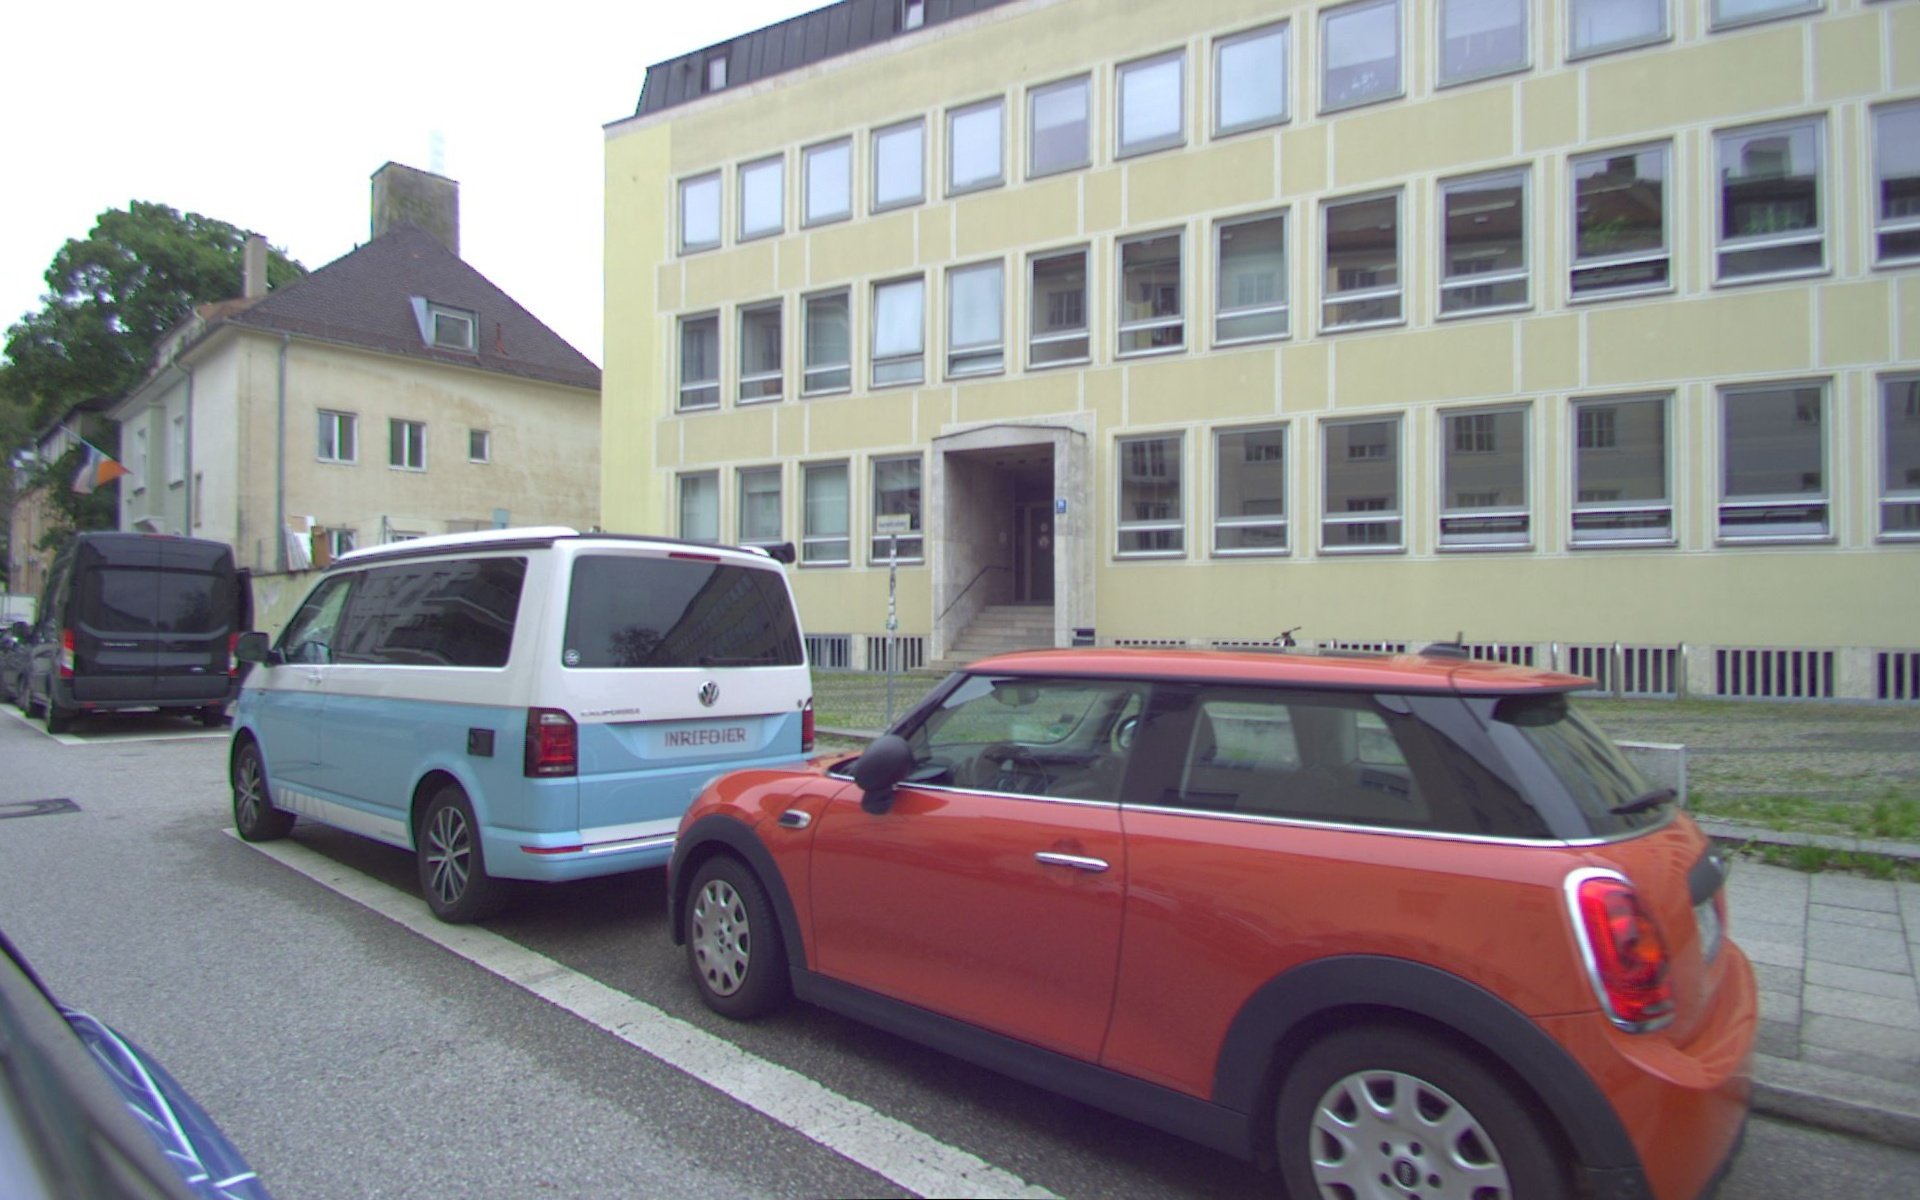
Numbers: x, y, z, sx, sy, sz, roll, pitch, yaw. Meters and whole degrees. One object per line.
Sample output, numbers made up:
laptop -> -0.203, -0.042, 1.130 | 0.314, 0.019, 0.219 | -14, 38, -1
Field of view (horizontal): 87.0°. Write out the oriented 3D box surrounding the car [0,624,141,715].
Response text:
car -> -16.742, 1.210, 18.723 | 3.484, 1.505, 1.686 | -1, -1, 37

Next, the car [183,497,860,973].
car -> -3.118, 0.629, 6.584 | 5.016, 1.994, 1.909 | -1, -3, 39

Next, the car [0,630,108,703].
car -> -20.051, 1.372, 21.953 | 4.066, 1.436, 1.676 | -1, -2, 39

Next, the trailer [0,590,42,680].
trailer -> -28.726, 1.020, 30.154 | 1.792, 2.555, 3.392 | 6, -5, -43

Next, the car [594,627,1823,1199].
car -> 0.493, 0.815, 3.620 | 3.916, 1.398, 1.725 | -1, -1, 41

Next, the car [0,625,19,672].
car -> -32.741, 1.579, 33.682 | 3.841, 1.525, 1.744 | -1, -2, 42

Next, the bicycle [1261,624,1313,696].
bicycle -> 5.223, 0.919, 16.097 | 0.577, 1.022, 1.937 | -1, 0, 24

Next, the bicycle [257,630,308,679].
bicycle -> -16.576, 1.323, 24.756 | 1.741, 1.140, 0.573 | -1, -2, 40

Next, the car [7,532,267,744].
car -> -12.758, 0.567, 15.519 | 5.653, 2.666, 2.272 | -2, -3, 43

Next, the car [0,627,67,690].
car -> -24.656, 1.450, 26.248 | 4.644, 1.511, 1.793 | -1, -2, 43
